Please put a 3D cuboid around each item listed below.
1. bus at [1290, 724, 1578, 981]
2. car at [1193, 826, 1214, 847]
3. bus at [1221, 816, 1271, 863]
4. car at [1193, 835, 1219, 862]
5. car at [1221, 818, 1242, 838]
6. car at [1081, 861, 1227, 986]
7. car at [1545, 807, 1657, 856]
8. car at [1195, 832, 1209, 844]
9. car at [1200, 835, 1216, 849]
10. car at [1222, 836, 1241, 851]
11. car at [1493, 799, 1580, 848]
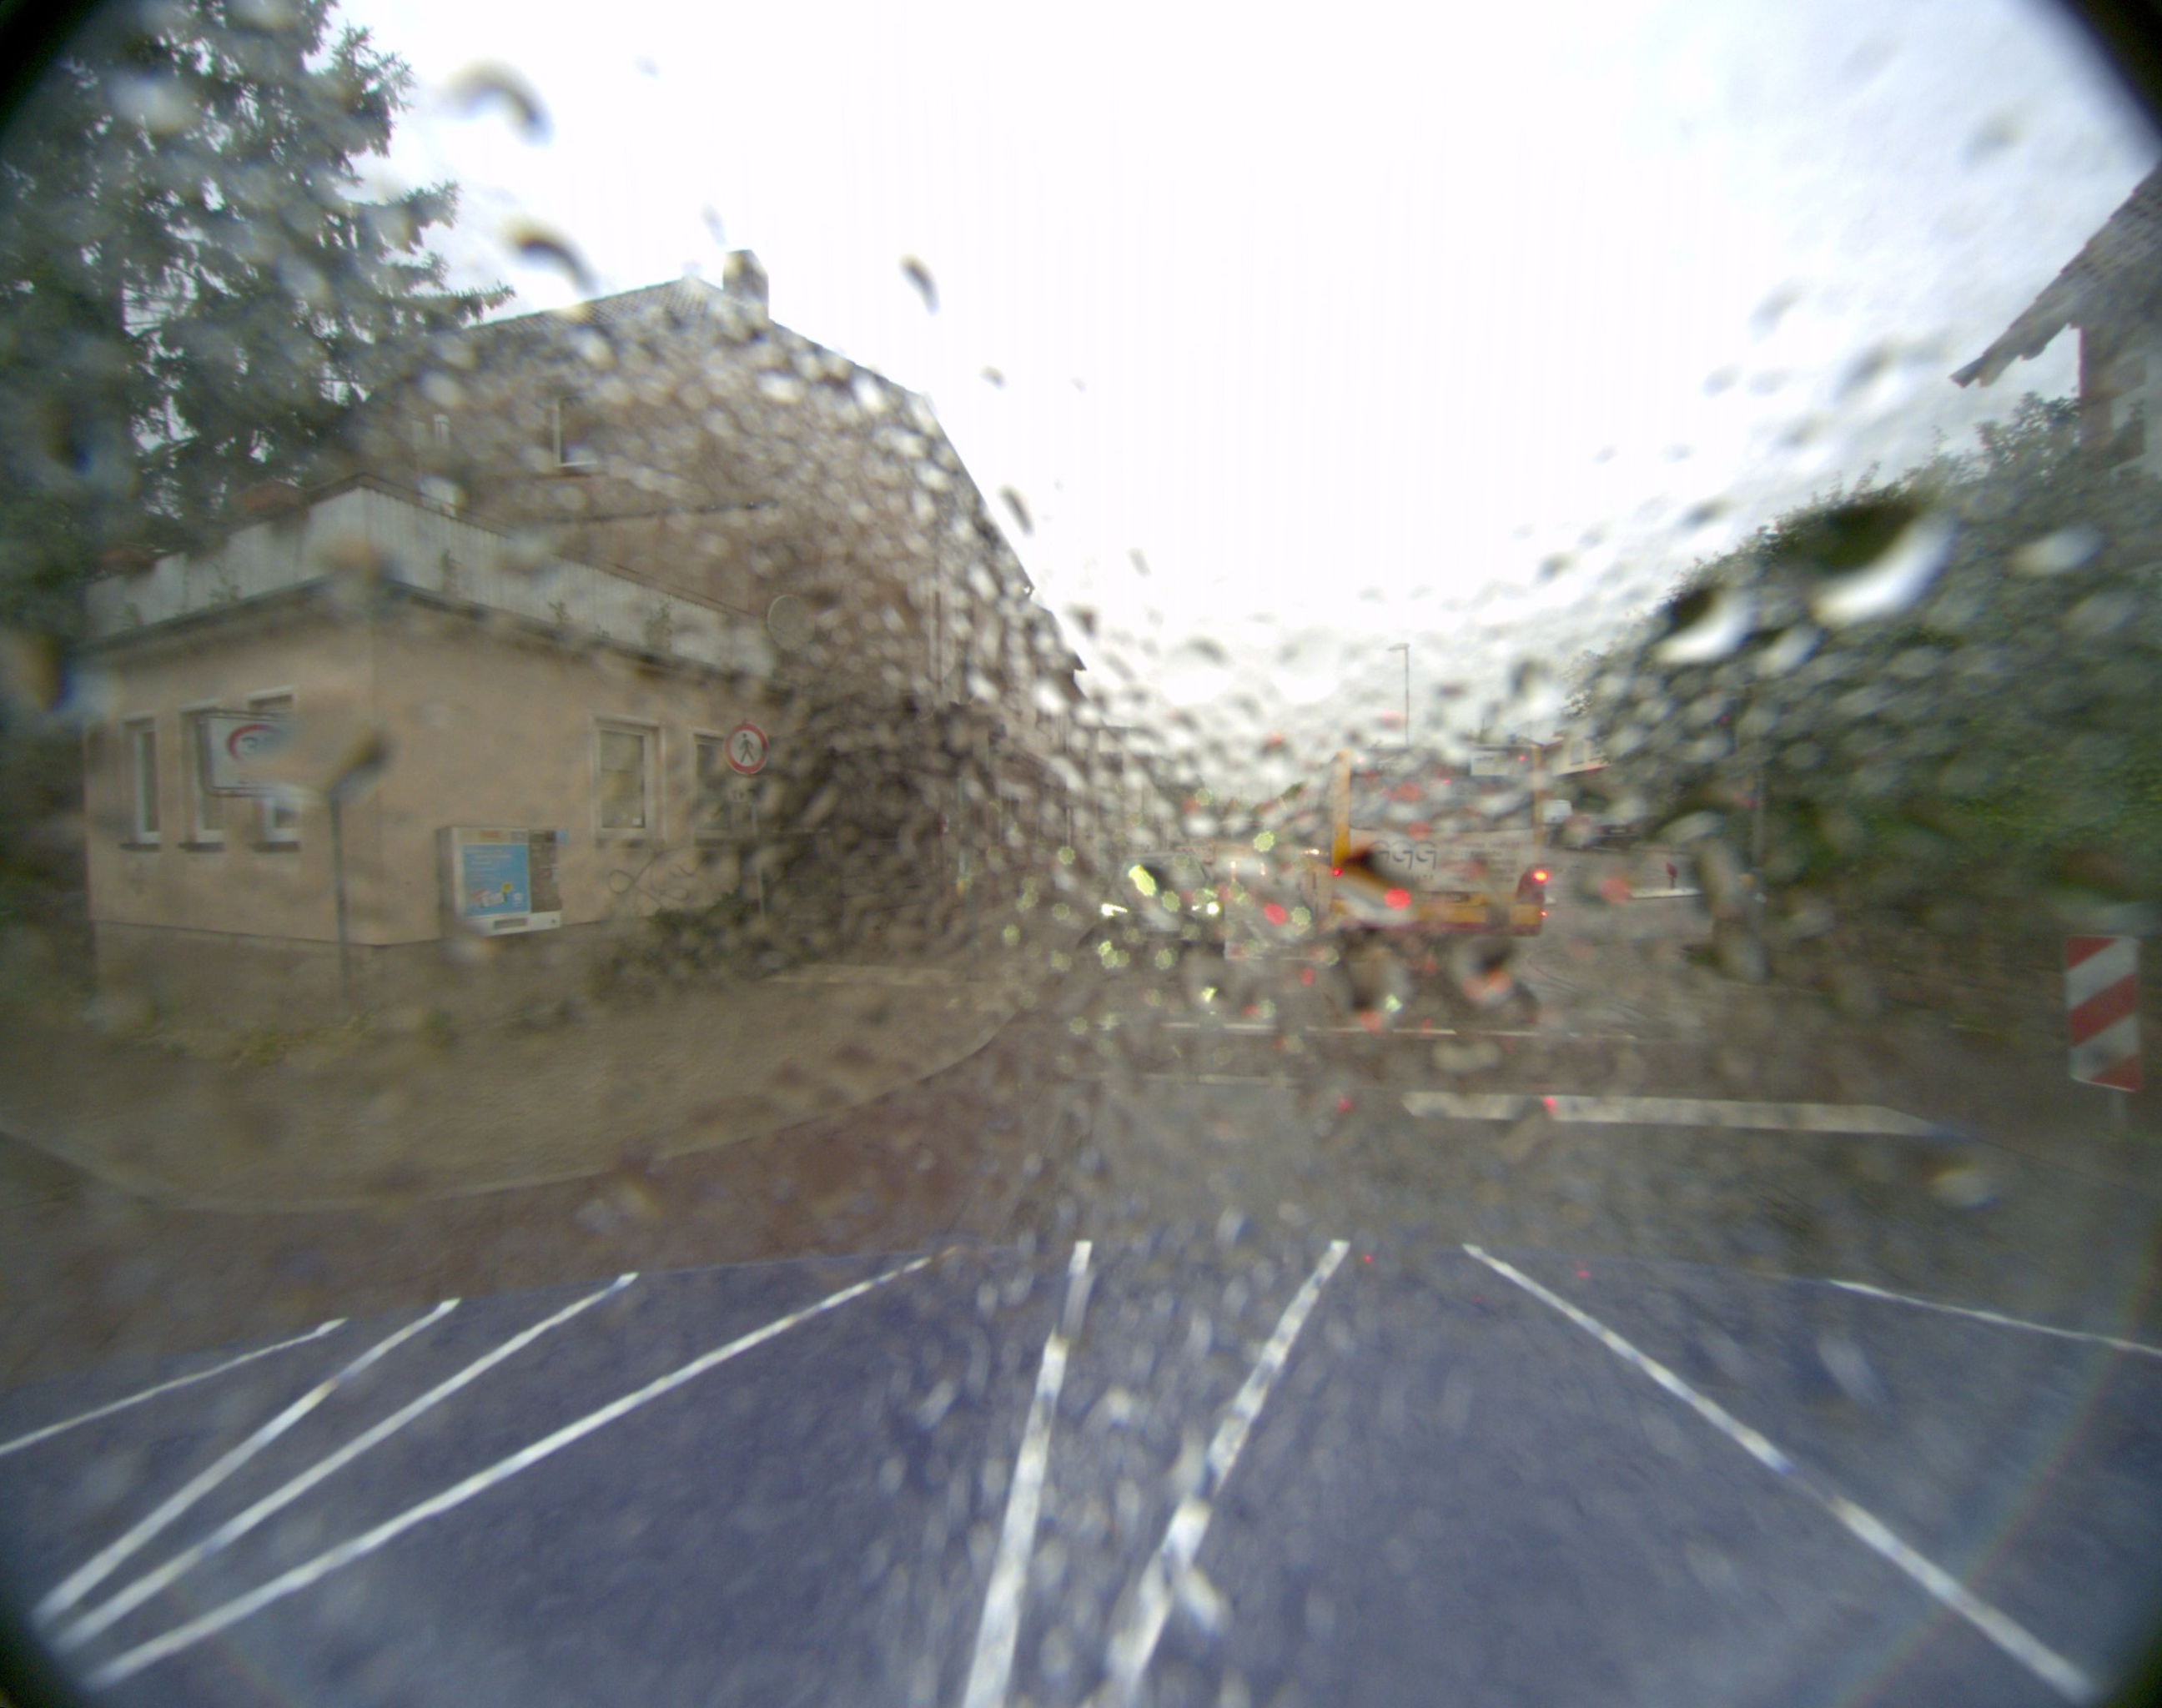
[{"bbox_3d":[5.709,-0.110,14.764,2.810,2.922,11.951,-1,1,14],"label":"bus"},{"bbox_3d":[11.046,-1.612,68.656,1.779,1.788,4.189,-1,2,9],"label":"car"},{"bbox_3d":[13.105,-1.227,61.389,3.438,3.392,13.878,0,2,10],"label":"bus"},{"bbox_3d":[9.226,-0.449,56.037,1.779,1.788,4.189,-1,2,9],"label":"car"},{"bbox_3d":[14.560,-2.520,73.785,1.779,1.788,4.189,-1,2,9],"label":"car"},{"bbox_3d":[1.216,0.897,11.516,1.779,1.349,4.189,-1,2,9],"label":"car"},{"bbox_3d":[20.160,-0.843,29.696,1.997,1.706,4.190,-2,1,9],"label":"car"},{"bbox_3d":[16.410,-2.210,102.820,1.779,1.602,4.189,-1,2,9],"label":"car"},{"bbox_3d":[15.637,-1.459,93.604,1.779,1.602,4.189,-2,2,9],"label":"car"},{"bbox_3d":[16.811,-1.175,85.006,1.779,1.602,4.189,-2,2,9],"label":"car"},{"bbox_3d":[21.083,-1.387,35.385,1.997,2.051,4.190,-2,1,9],"label":"car"}]
